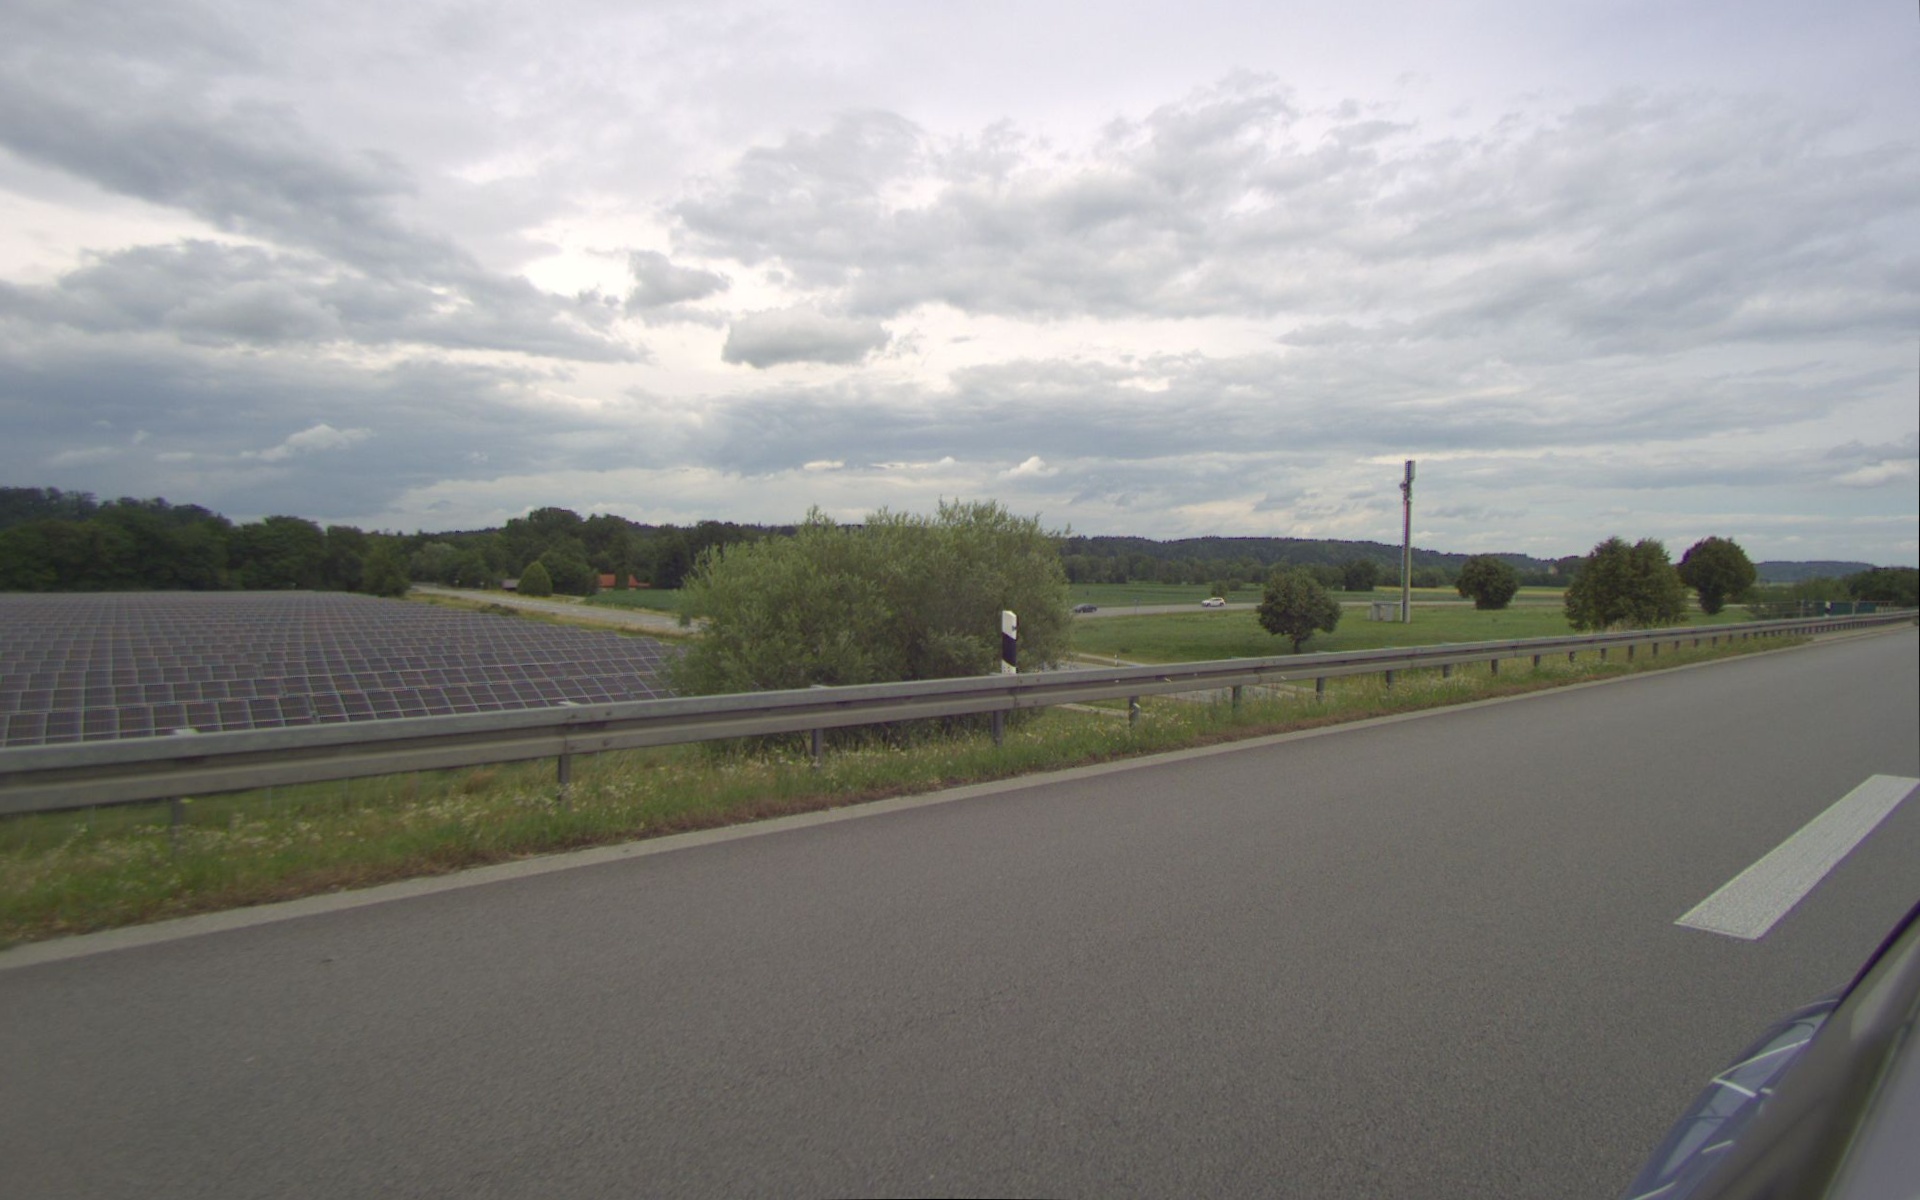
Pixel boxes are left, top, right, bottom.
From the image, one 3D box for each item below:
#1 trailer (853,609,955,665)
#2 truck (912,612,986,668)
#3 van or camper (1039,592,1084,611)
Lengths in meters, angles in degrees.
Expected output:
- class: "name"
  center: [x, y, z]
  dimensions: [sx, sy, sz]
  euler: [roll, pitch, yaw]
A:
- class: "trailer"
  center: [-5.757, 3.551, 101.283]
  dimensions: [2.969, 4.847, 12.282]
  euler: [0, 1, -43]
- class: "truck"
  center: [-1.077, 3.732, 96.270]
  dimensions: [2.969, 4.847, 7.125]
  euler: [0, 1, -43]
- class: "van or camper"
  center: [16.933, 0.303, 168.766]
  dimensions: [6.982, 2.946, 2.805]
  euler: [-1, -3, -28]
